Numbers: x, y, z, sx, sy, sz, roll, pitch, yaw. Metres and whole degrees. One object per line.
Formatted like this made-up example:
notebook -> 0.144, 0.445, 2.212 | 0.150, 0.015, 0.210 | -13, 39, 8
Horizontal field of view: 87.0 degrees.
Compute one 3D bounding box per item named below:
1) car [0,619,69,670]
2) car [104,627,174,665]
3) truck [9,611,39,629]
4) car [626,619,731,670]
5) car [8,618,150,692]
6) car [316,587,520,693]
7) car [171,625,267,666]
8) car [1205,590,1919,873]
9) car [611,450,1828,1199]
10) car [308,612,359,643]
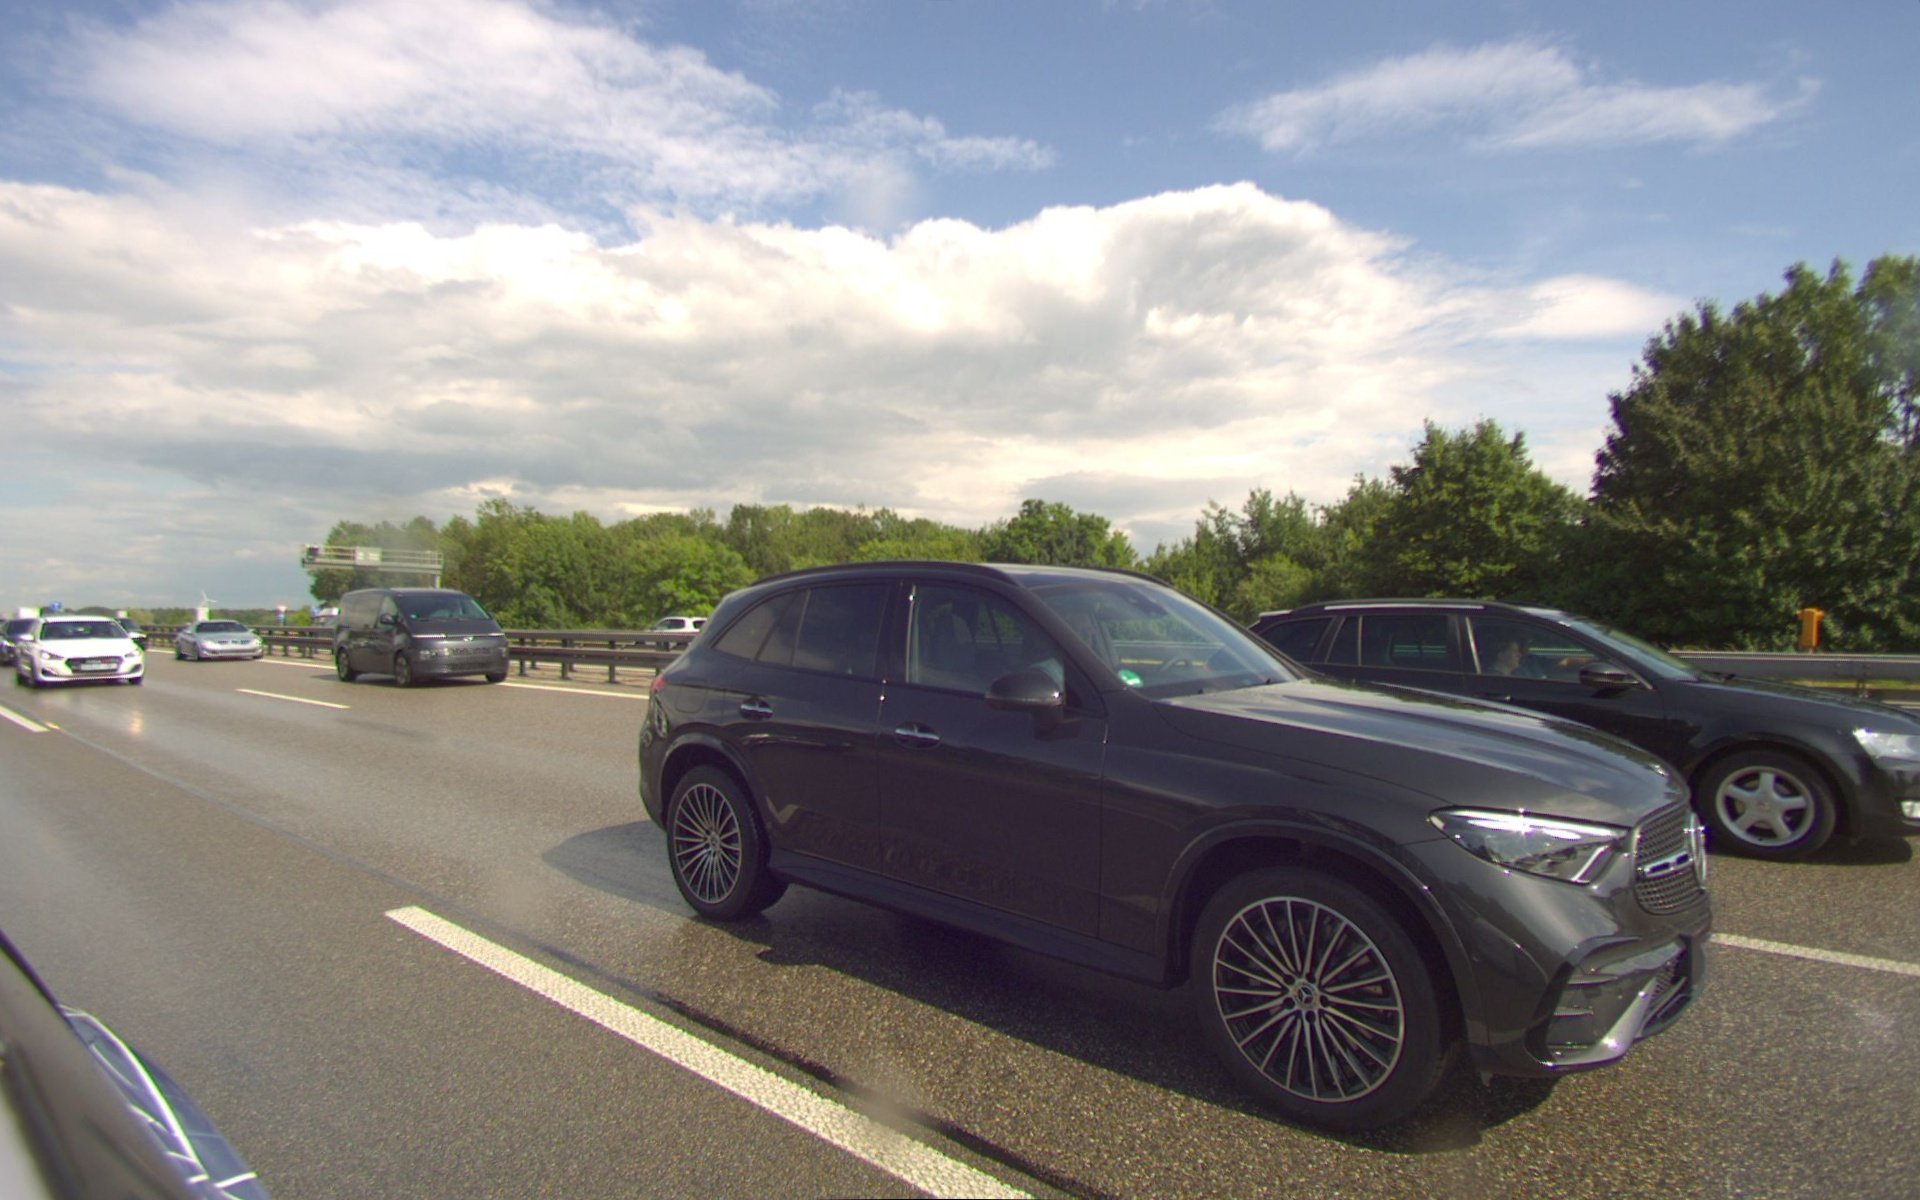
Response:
car -> -28.130, 1.304, 30.363 | 3.998, 1.409, 1.577 | -1, -1, 41
car -> -33.523, 1.846, 41.310 | 3.998, 1.431, 1.597 | -1, -1, 41
truck -> -163.496, 3.404, 176.779 | 8.717, 3.009, 2.886 | -1, 0, 41
car -> -9.937, 1.515, 35.585 | 3.807, 1.663, 1.716 | -1, -1, 40
car -> -18.785, 1.097, 21.525 | 4.239, 1.408, 1.785 | -1, -1, 42
car -> -11.296, 0.760, 20.909 | 5.233, 1.932, 1.973 | -1, -1, 41
car -> -23.493, 1.401, 32.048 | 3.583, 1.198, 1.832 | -1, -1, 43
car -> 4.145, 0.690, 7.023 | 4.369, 1.435, 1.900 | -1, -1, 41
car -> 0.580, 0.580, 4.256 | 4.624, 1.692, 1.857 | -1, -1, 42
car -> -41.981, 1.830, 67.778 | 4.364, 2.029, 1.971 | -1, -1, 44
